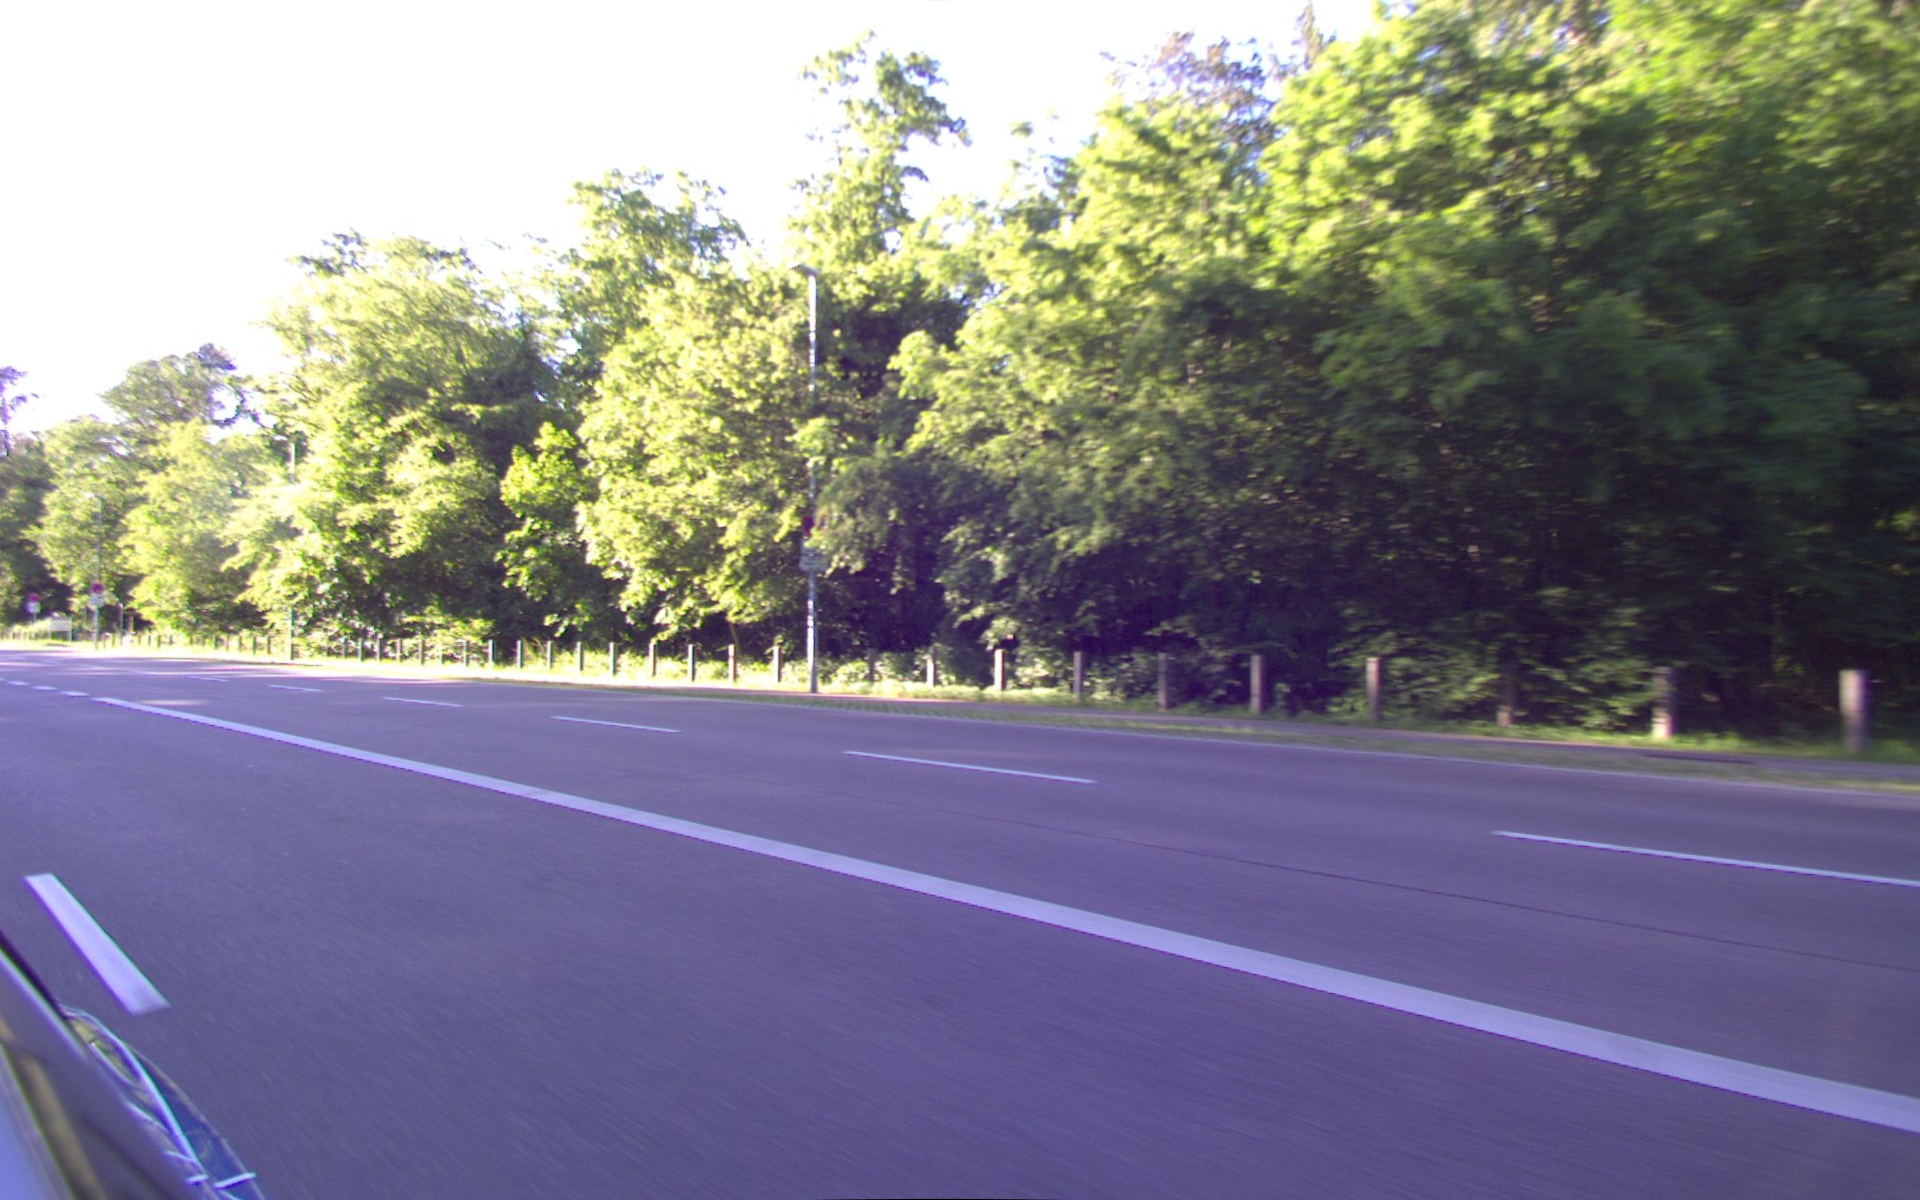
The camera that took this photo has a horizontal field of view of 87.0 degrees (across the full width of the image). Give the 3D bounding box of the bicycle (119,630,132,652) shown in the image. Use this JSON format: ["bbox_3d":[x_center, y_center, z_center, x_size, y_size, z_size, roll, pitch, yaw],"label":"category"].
[{"bbox_3d":[-45.380,2.204,55.020,0.396,1.140,2.221,-1,0,-44],"label":"bicycle"}]
